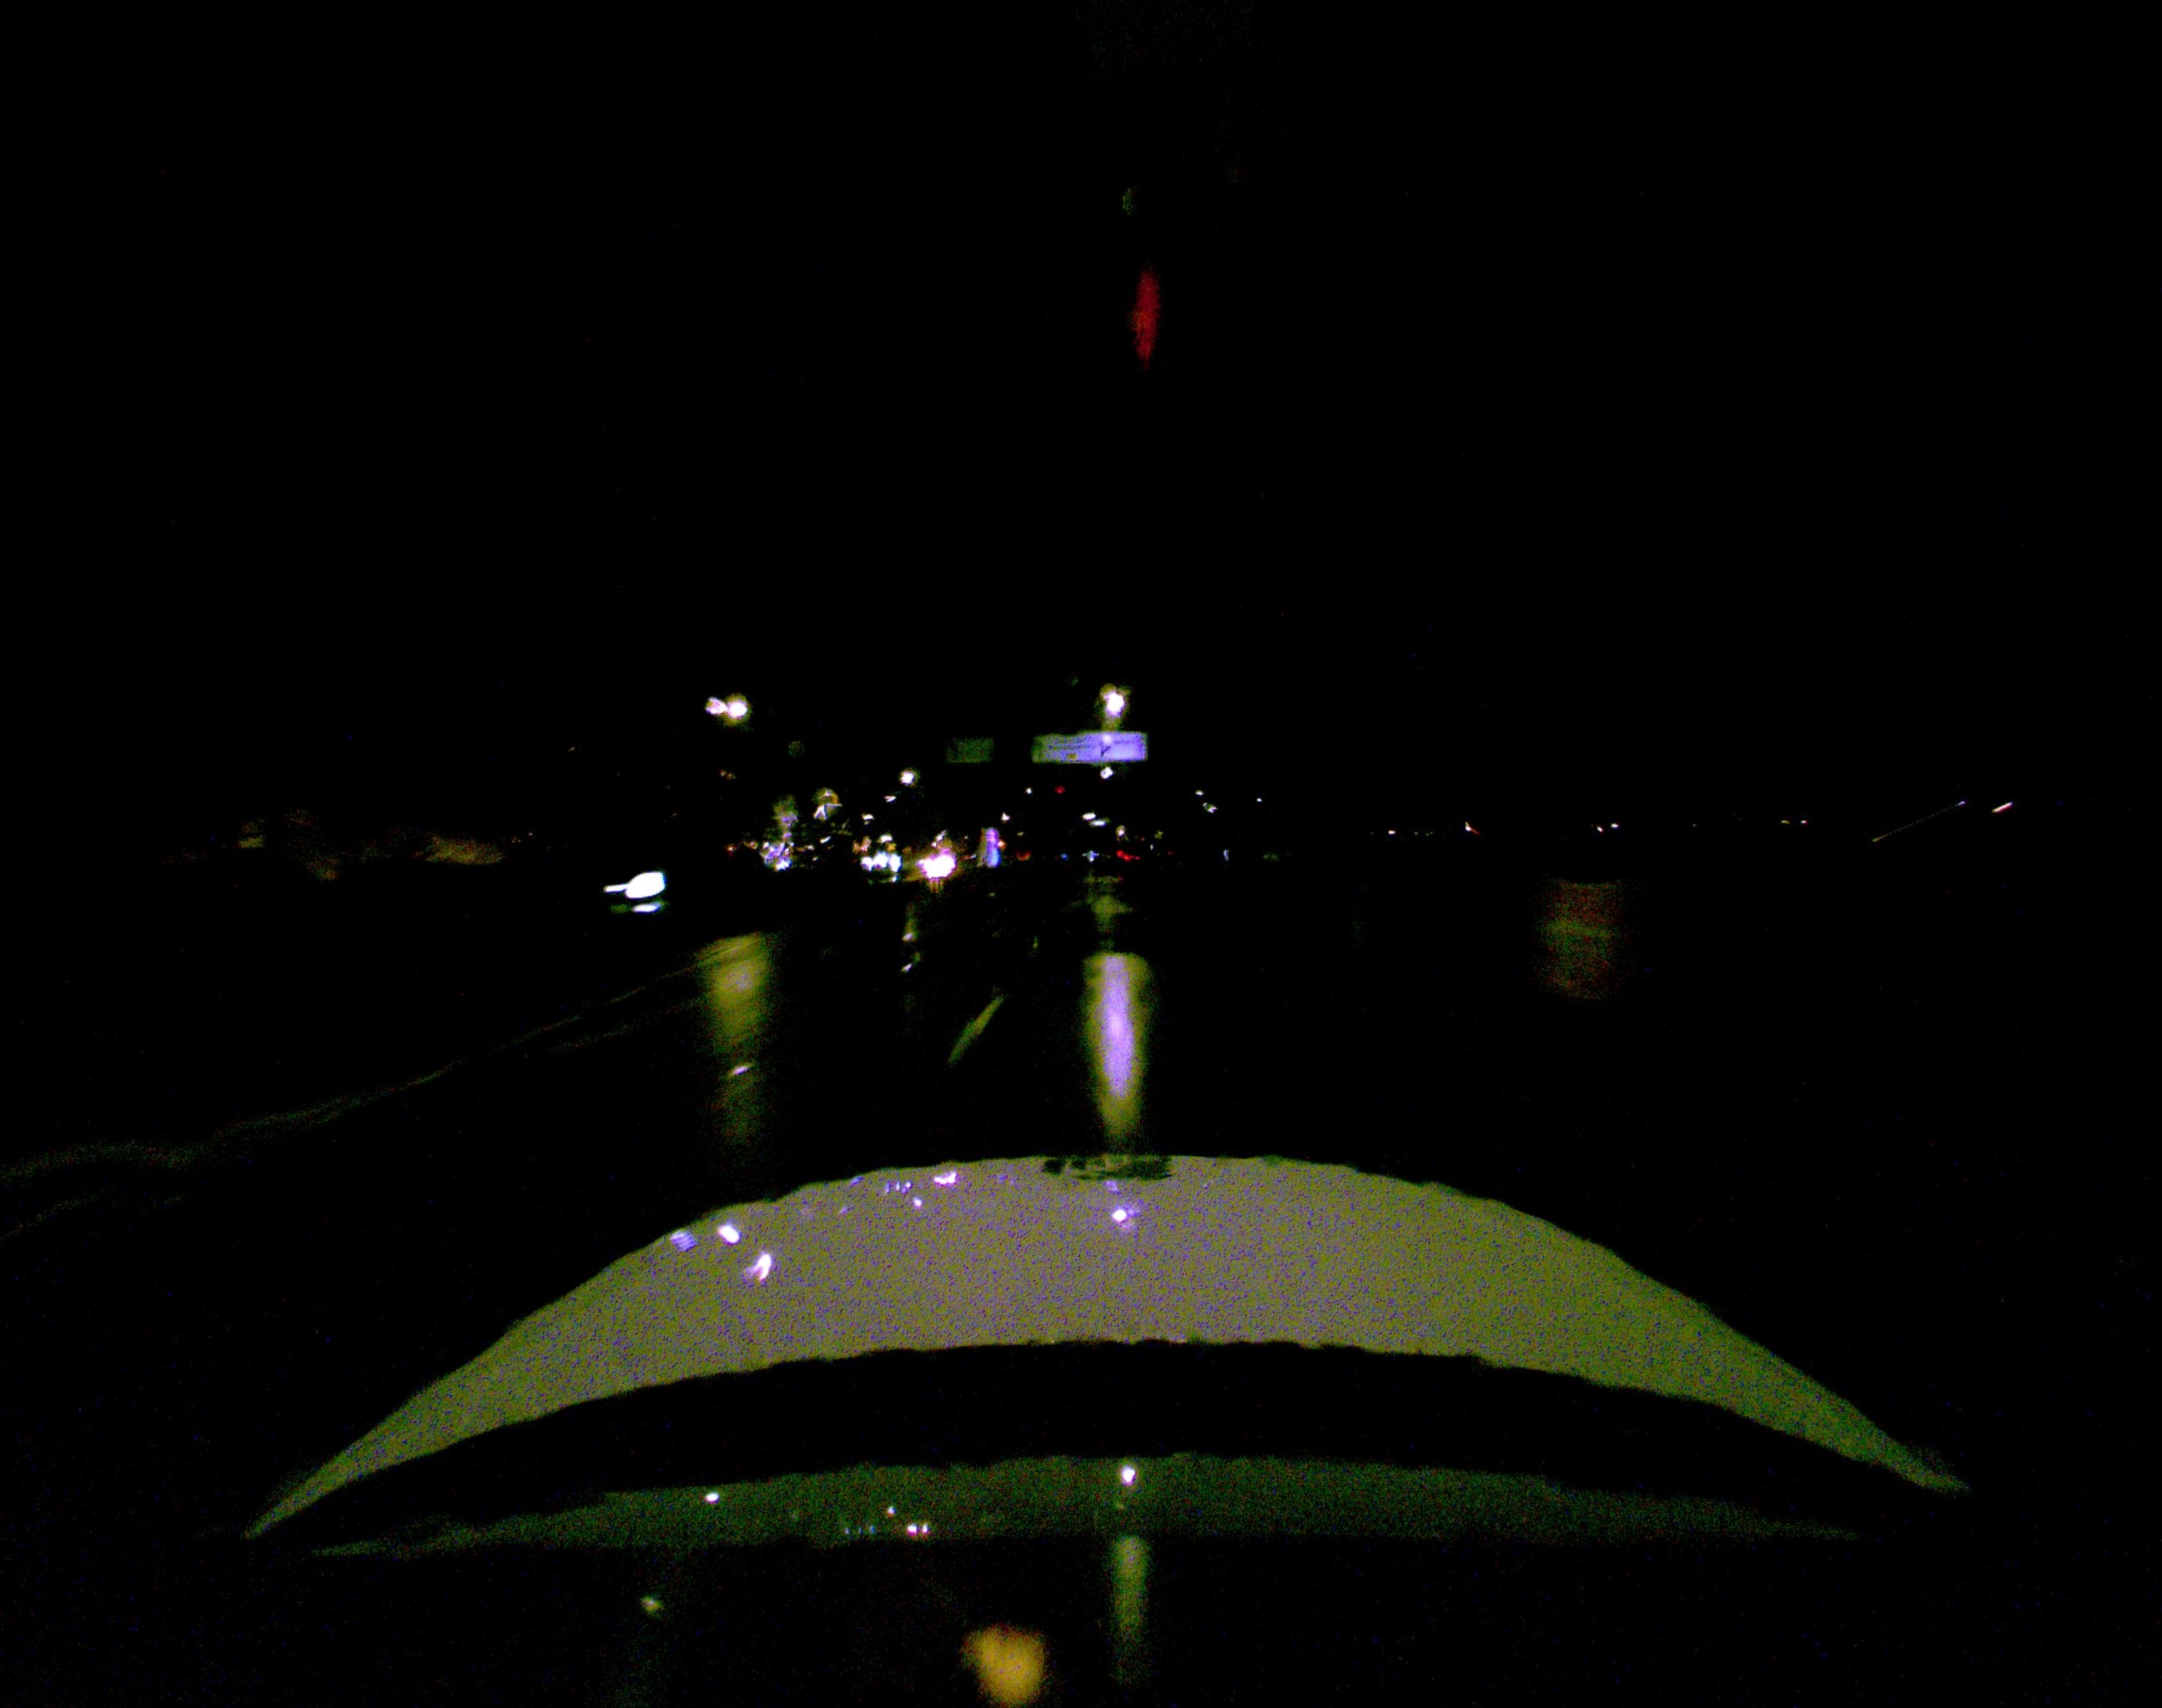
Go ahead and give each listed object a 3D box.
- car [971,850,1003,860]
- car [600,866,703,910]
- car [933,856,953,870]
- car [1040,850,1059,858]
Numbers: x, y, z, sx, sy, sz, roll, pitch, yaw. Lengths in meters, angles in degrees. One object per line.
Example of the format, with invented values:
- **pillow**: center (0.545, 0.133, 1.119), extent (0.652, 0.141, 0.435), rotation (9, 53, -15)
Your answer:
- **car**: center (-20.139, 0.226, 173.885), extent (6.321, 2.089, 2.496), rotation (-1, 0, -24)
- **car**: center (-18.671, 1.420, 35.697), extent (2.017, 1.684, 4.549), rotation (0, 0, 1)
- **car**: center (-17.941, 1.132, 106.169), extent (1.822, 1.713, 4.442), rotation (0, 0, 1)
- **car**: center (-6.799, -0.058, 175.478), extent (3.941, 1.578, 1.736), rotation (0, 0, -2)
